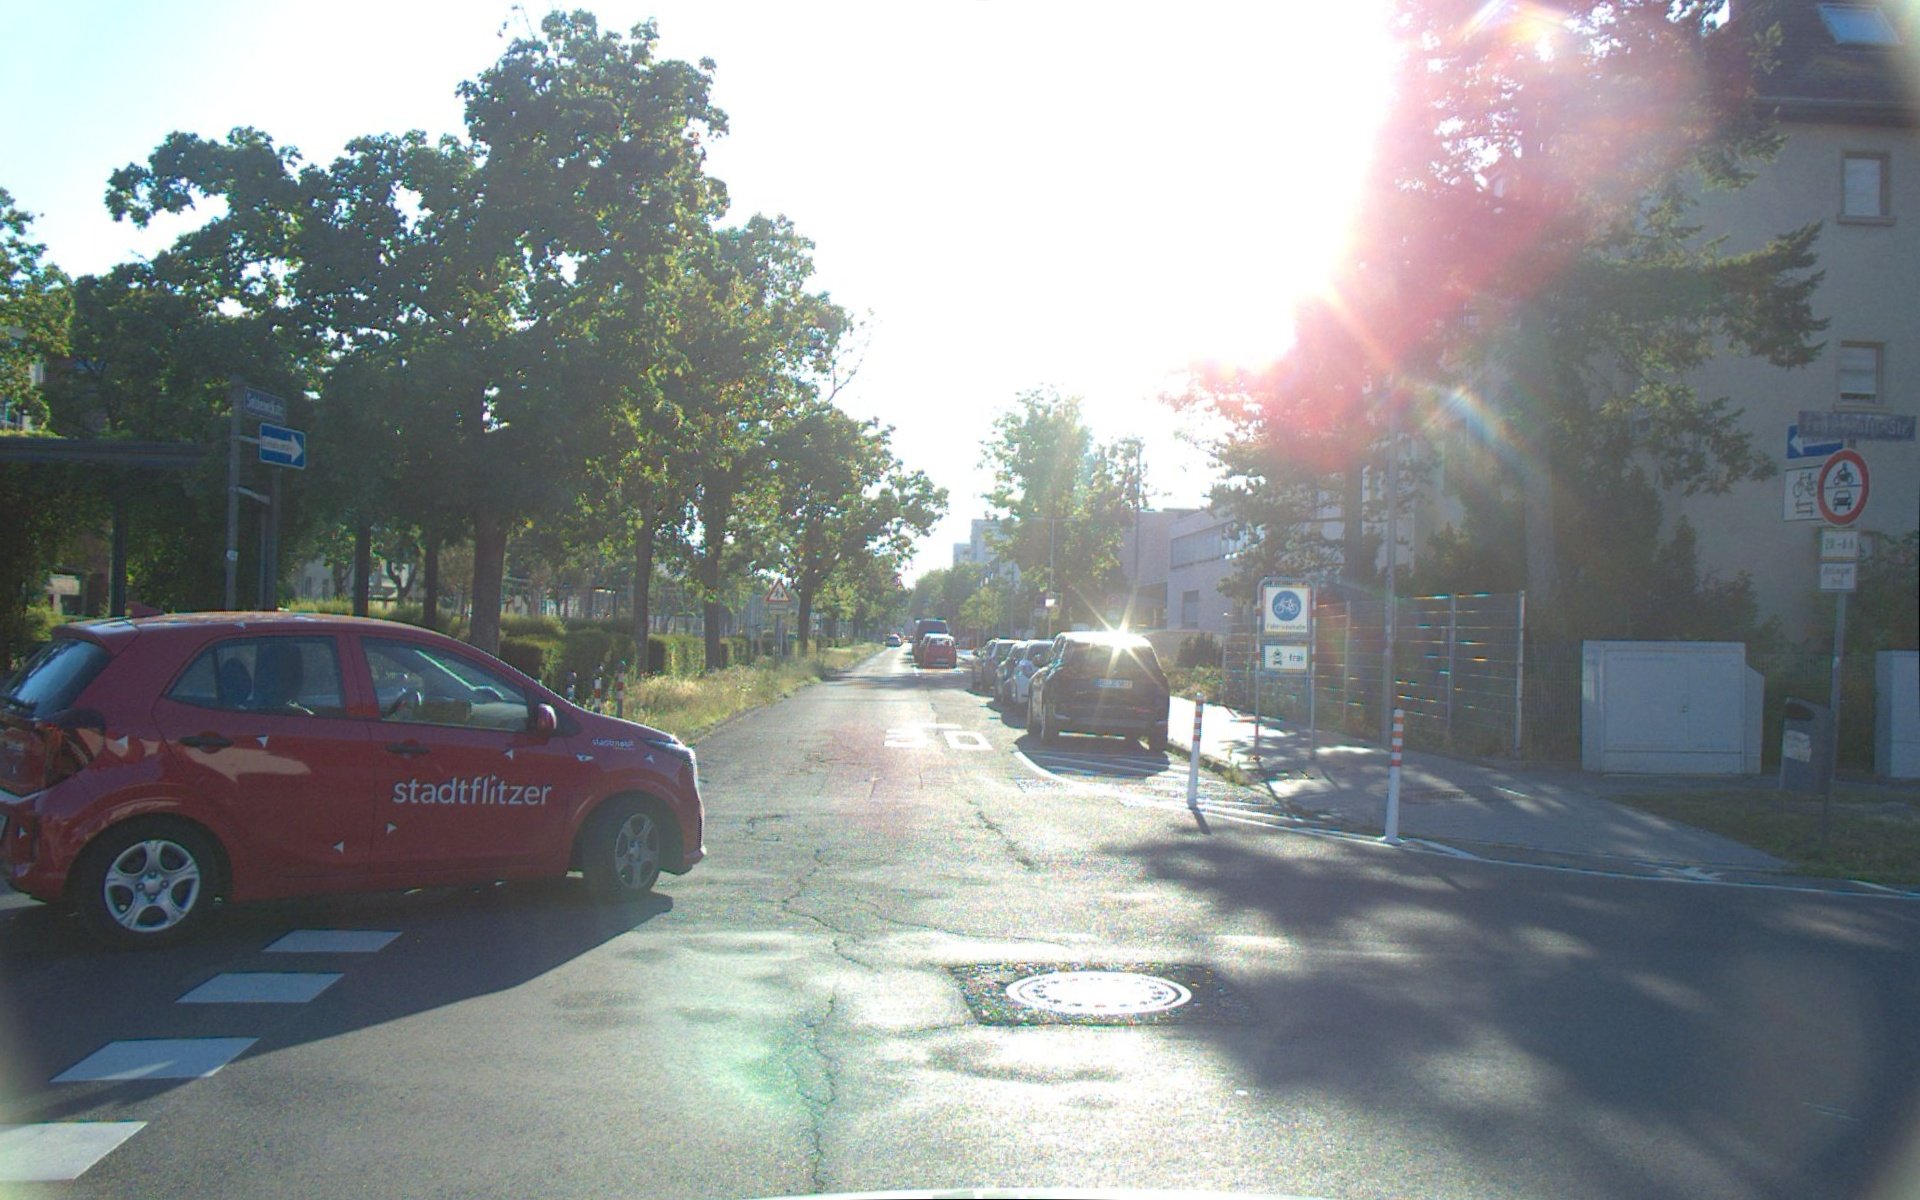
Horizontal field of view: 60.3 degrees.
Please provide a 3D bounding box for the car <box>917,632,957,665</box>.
[{"bbox_3d":[-1.150,2.413,82.549,1.722,1.545,3.756,1,-1,-4],"label":"car"}]

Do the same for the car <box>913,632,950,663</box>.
[{"bbox_3d":[-1.533,2.468,86.869,1.696,1.545,3.756,1,-1,-4],"label":"car"}]

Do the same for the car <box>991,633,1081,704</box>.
[{"bbox_3d":[1.727,1.554,38.528,1.695,1.545,3.757,1,-1,-3],"label":"car"}]

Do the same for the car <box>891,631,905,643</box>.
[{"bbox_3d":[-8.636,5.167,229.608,1.828,1.646,3.997,1,-1,-3],"label":"car"}]

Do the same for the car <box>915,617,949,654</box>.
[{"bbox_3d":[-1.733,2.124,100.113,1.953,2.161,3.998,1,-1,-2],"label":"car"}]

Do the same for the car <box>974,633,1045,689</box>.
[{"bbox_3d":[1.389,1.737,47.689,1.730,1.553,3.770,0,-1,-4],"label":"car"}]

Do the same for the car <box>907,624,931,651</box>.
[{"bbox_3d":[-3.455,3.132,139.286,1.953,2.161,3.998,1,-1,-2],"label":"car"}]

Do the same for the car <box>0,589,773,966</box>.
[{"bbox_3d":[-3.025,0.776,8.706,3.736,1.553,1.746,1,-2,-39],"label":"car"}]

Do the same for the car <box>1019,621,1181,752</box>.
[{"bbox_3d":[2.002,1.238,24.804,1.781,1.670,4.213,4,-2,-3],"label":"car"}]

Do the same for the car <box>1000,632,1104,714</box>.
[{"bbox_3d":[1.815,1.441,33.623,1.730,1.553,3.770,0,-1,-3],"label":"car"}]
